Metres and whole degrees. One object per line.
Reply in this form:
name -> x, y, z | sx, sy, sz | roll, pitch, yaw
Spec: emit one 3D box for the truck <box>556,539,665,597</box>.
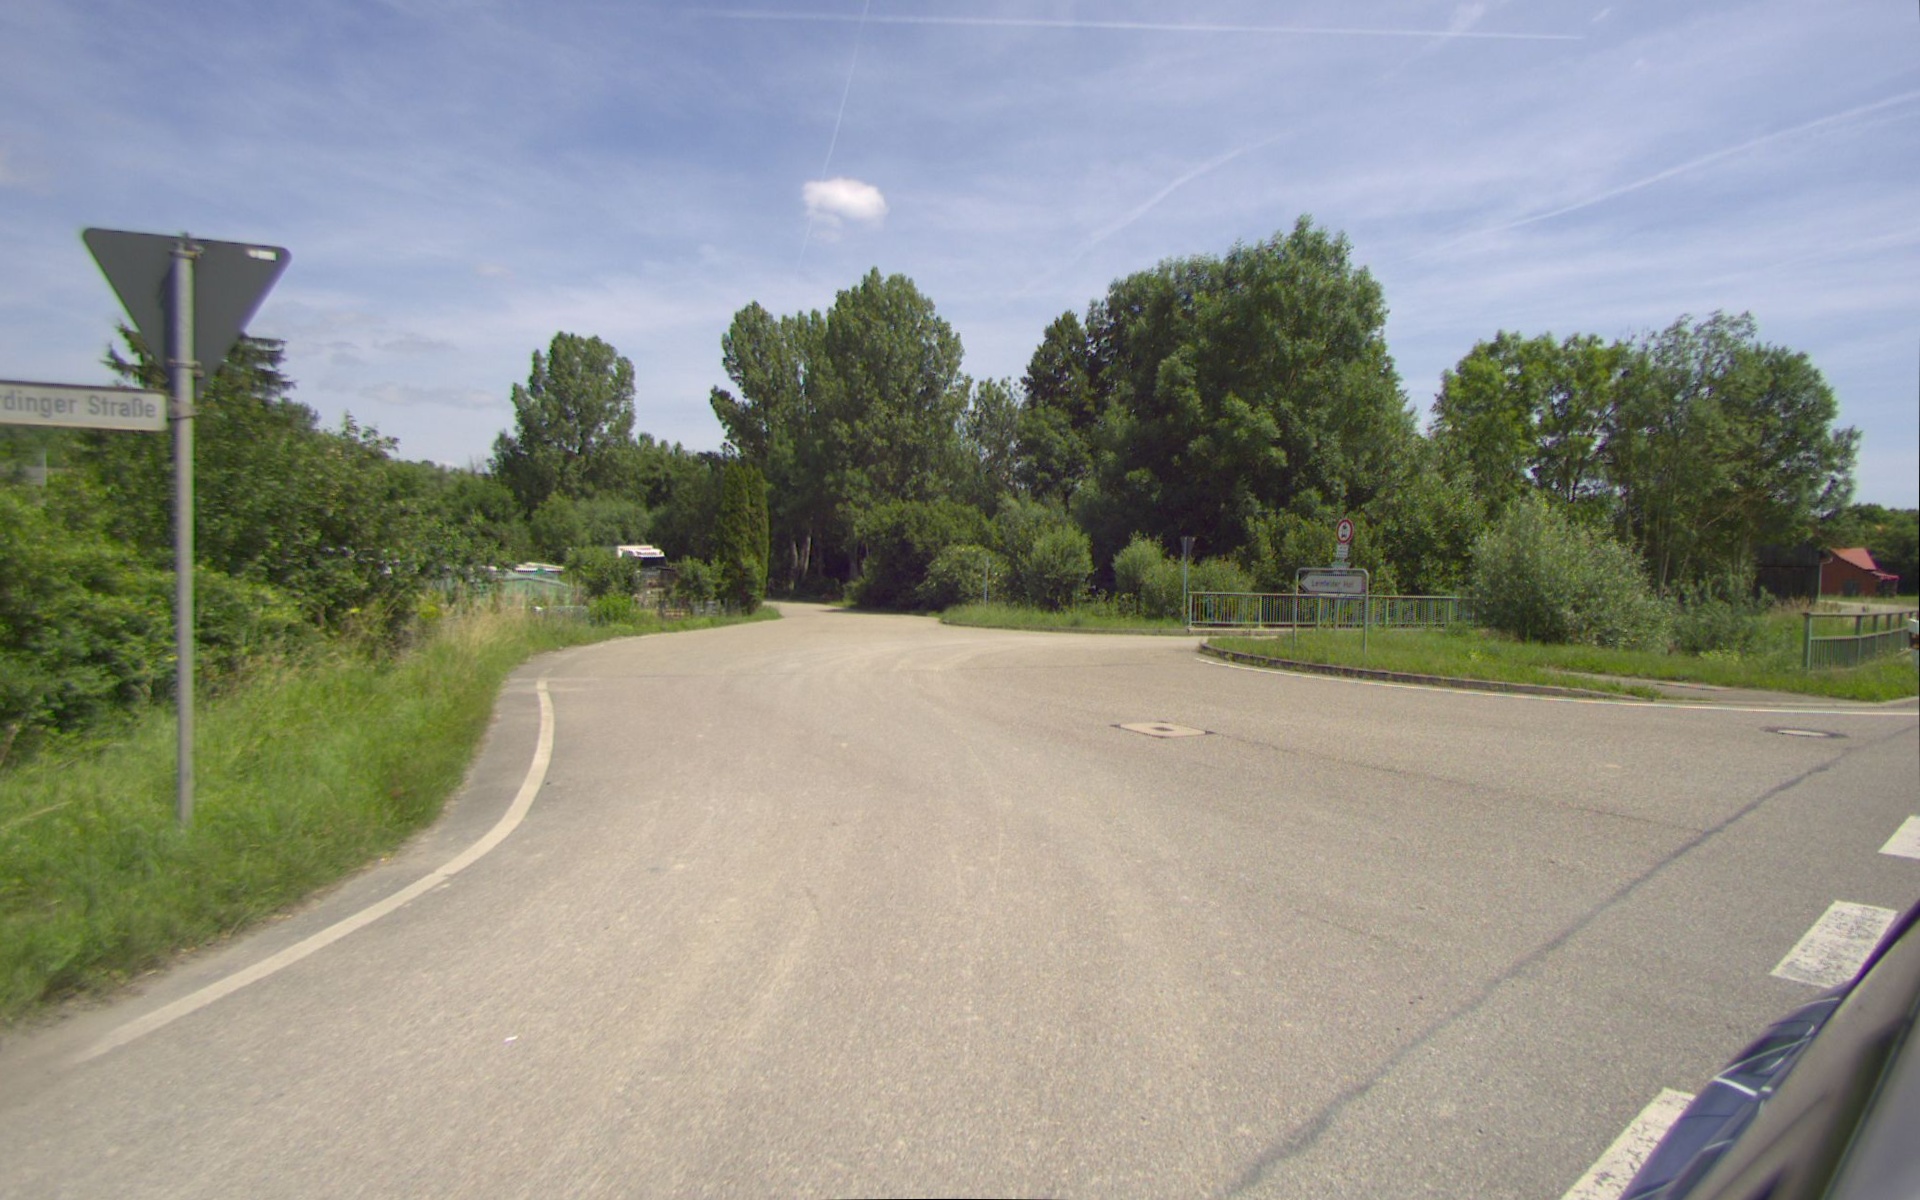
truck -> -24.730, -2.305, 71.146 | 11.547, 3.741, 2.344 | 3, 2, 45
